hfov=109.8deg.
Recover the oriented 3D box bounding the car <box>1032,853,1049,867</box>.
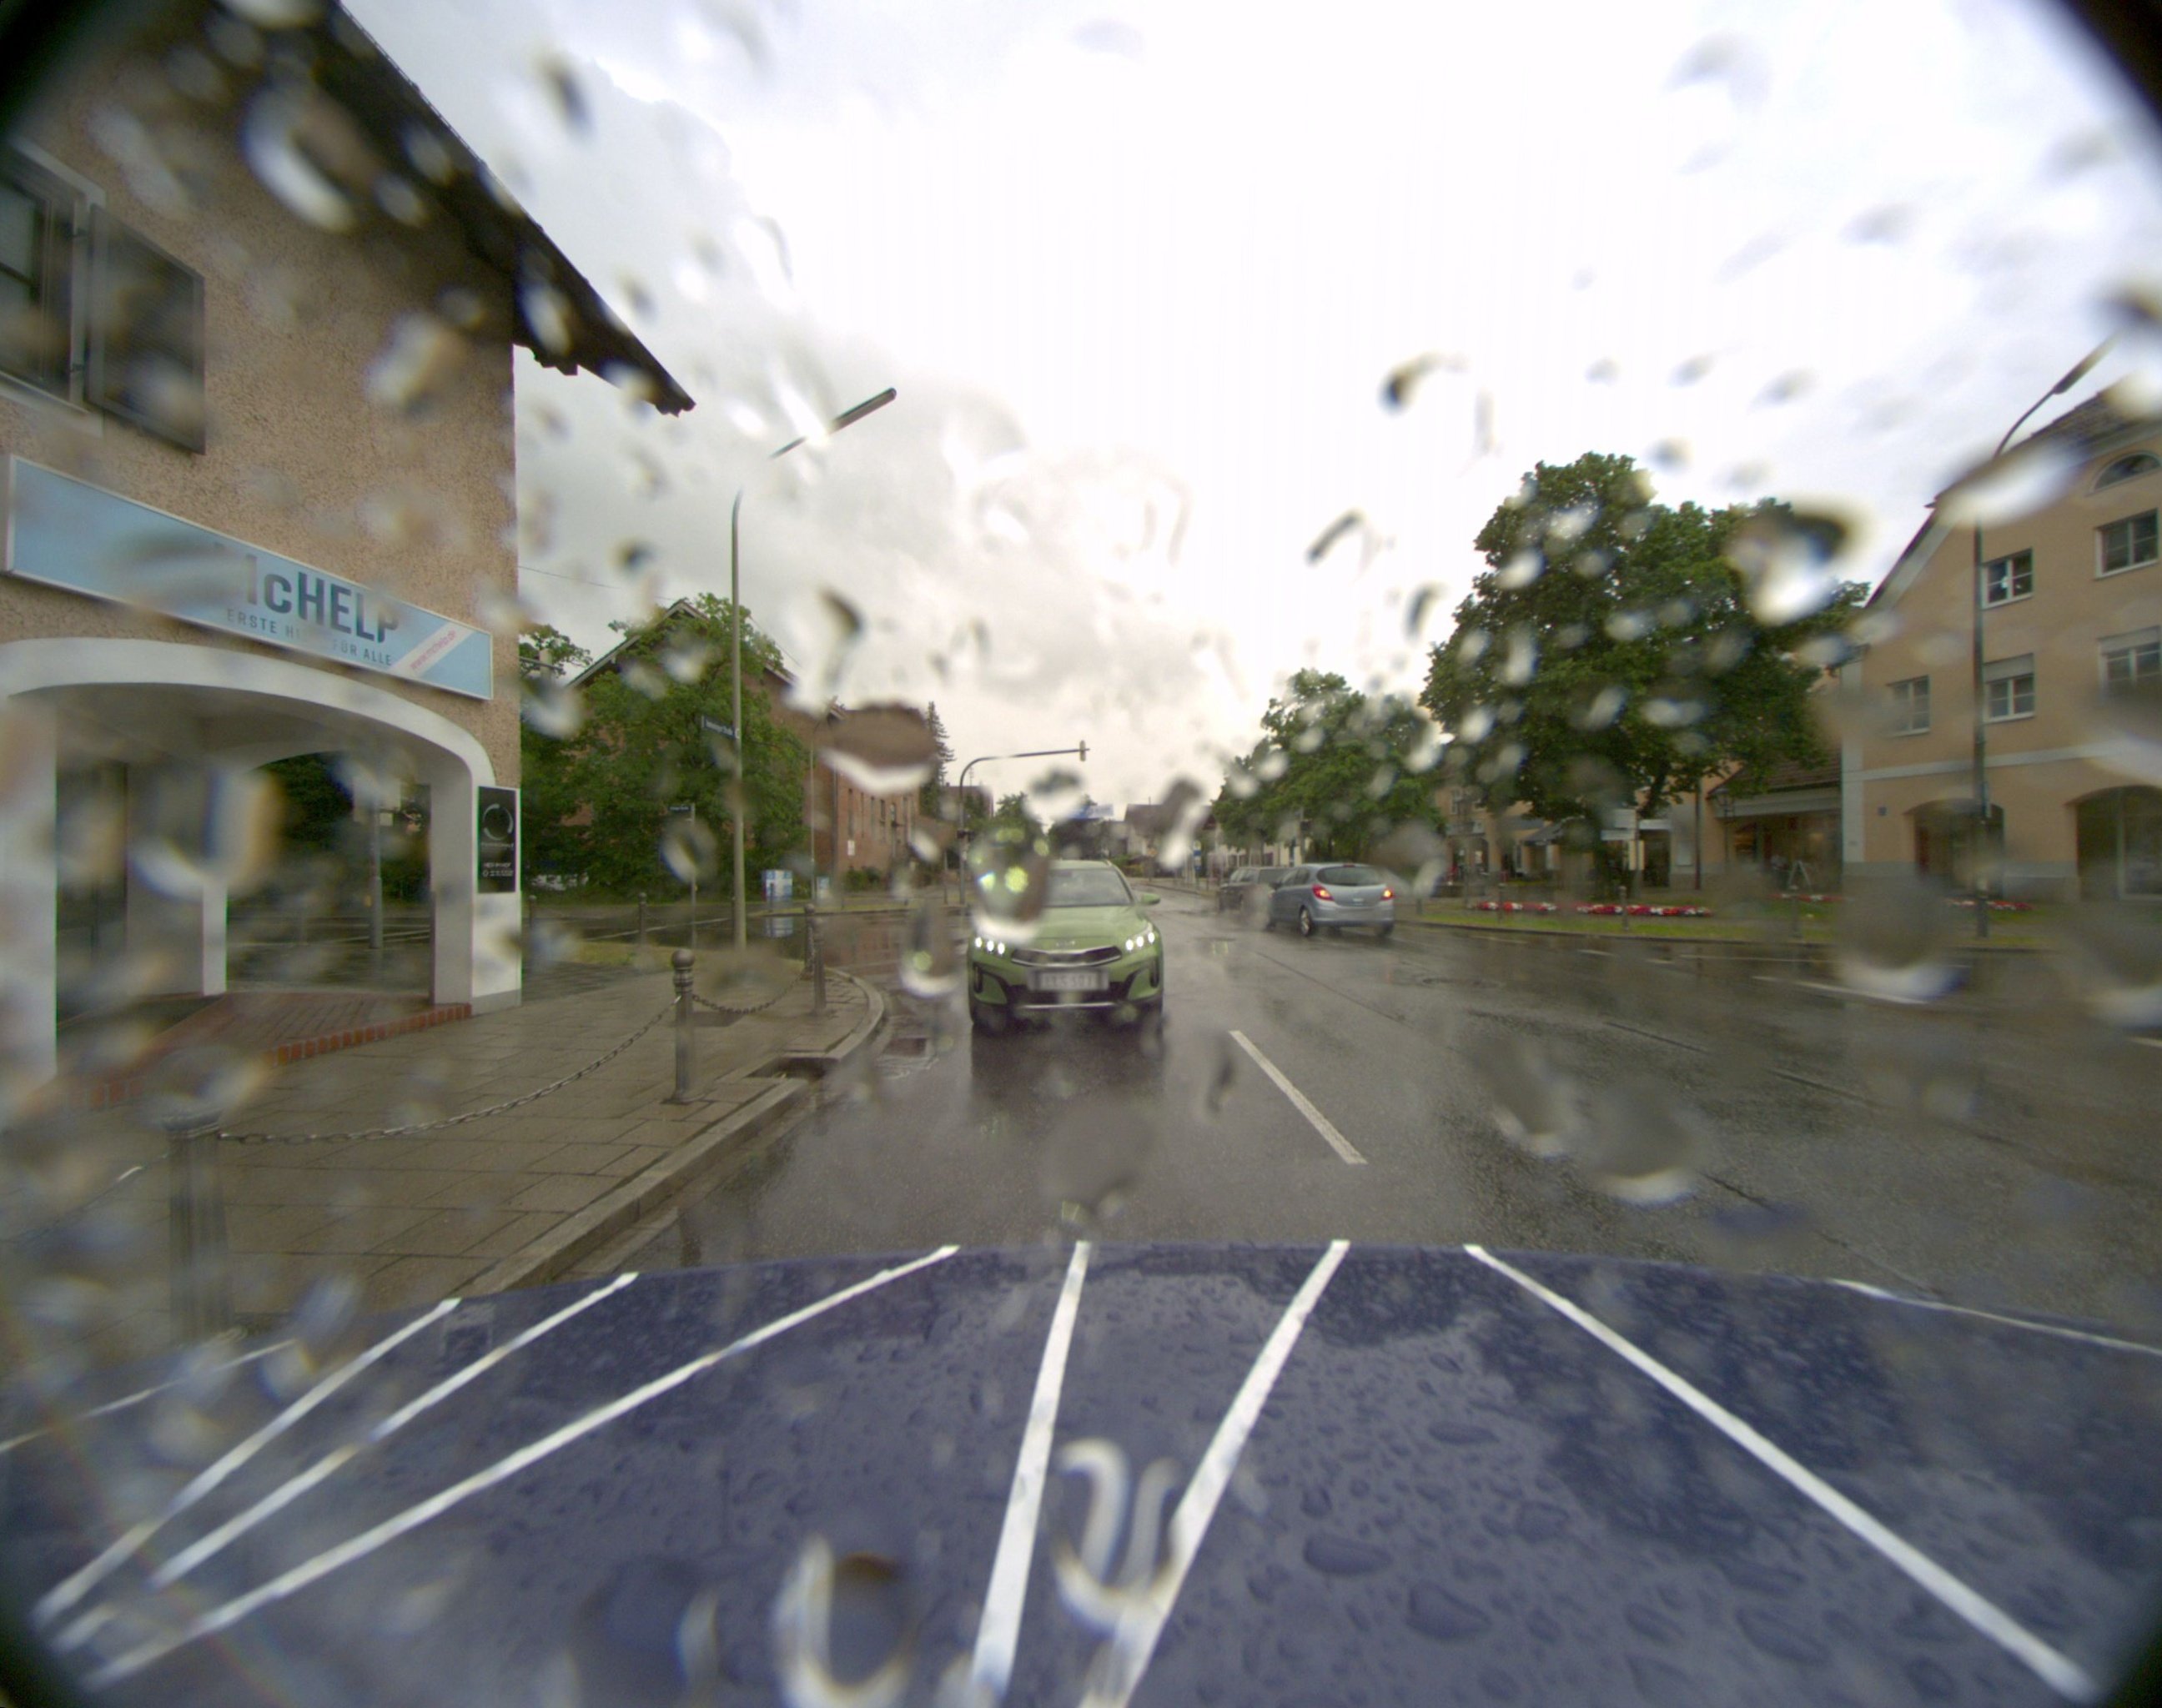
[{"bbox_3d":[-5.570,0.807,103.665,2.218,1.977,4.952,0,0,-5],"label":"car"}]

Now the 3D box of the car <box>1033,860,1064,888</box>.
[{"bbox_3d":[-1.893,1.115,43.904,1.736,1.489,4.609,0,0,-3],"label":"car"}]

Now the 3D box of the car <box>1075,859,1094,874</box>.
[{"bbox_3d":[0.401,1.381,86.613,1.810,1.677,3.998,-1,0,-4],"label":"car"}]

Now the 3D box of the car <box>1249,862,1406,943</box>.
[{"bbox_3d":[5.025,0.913,16.118,1.873,1.447,4.104,0,0,-2],"label":"car"}]

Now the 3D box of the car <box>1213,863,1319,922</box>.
[{"bbox_3d":[5.149,1.017,21.696,1.873,1.447,4.104,0,0,-2],"label":"car"}]

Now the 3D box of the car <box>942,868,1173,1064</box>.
[{"bbox_3d":[-0.167,0.952,8.261,1.872,1.505,4.105,-1,0,1],"label":"car"}]

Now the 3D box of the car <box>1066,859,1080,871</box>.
[{"bbox_3d":[-1.171,1.577,112.279,1.810,1.677,3.998,-1,0,-4],"label":"car"}]
